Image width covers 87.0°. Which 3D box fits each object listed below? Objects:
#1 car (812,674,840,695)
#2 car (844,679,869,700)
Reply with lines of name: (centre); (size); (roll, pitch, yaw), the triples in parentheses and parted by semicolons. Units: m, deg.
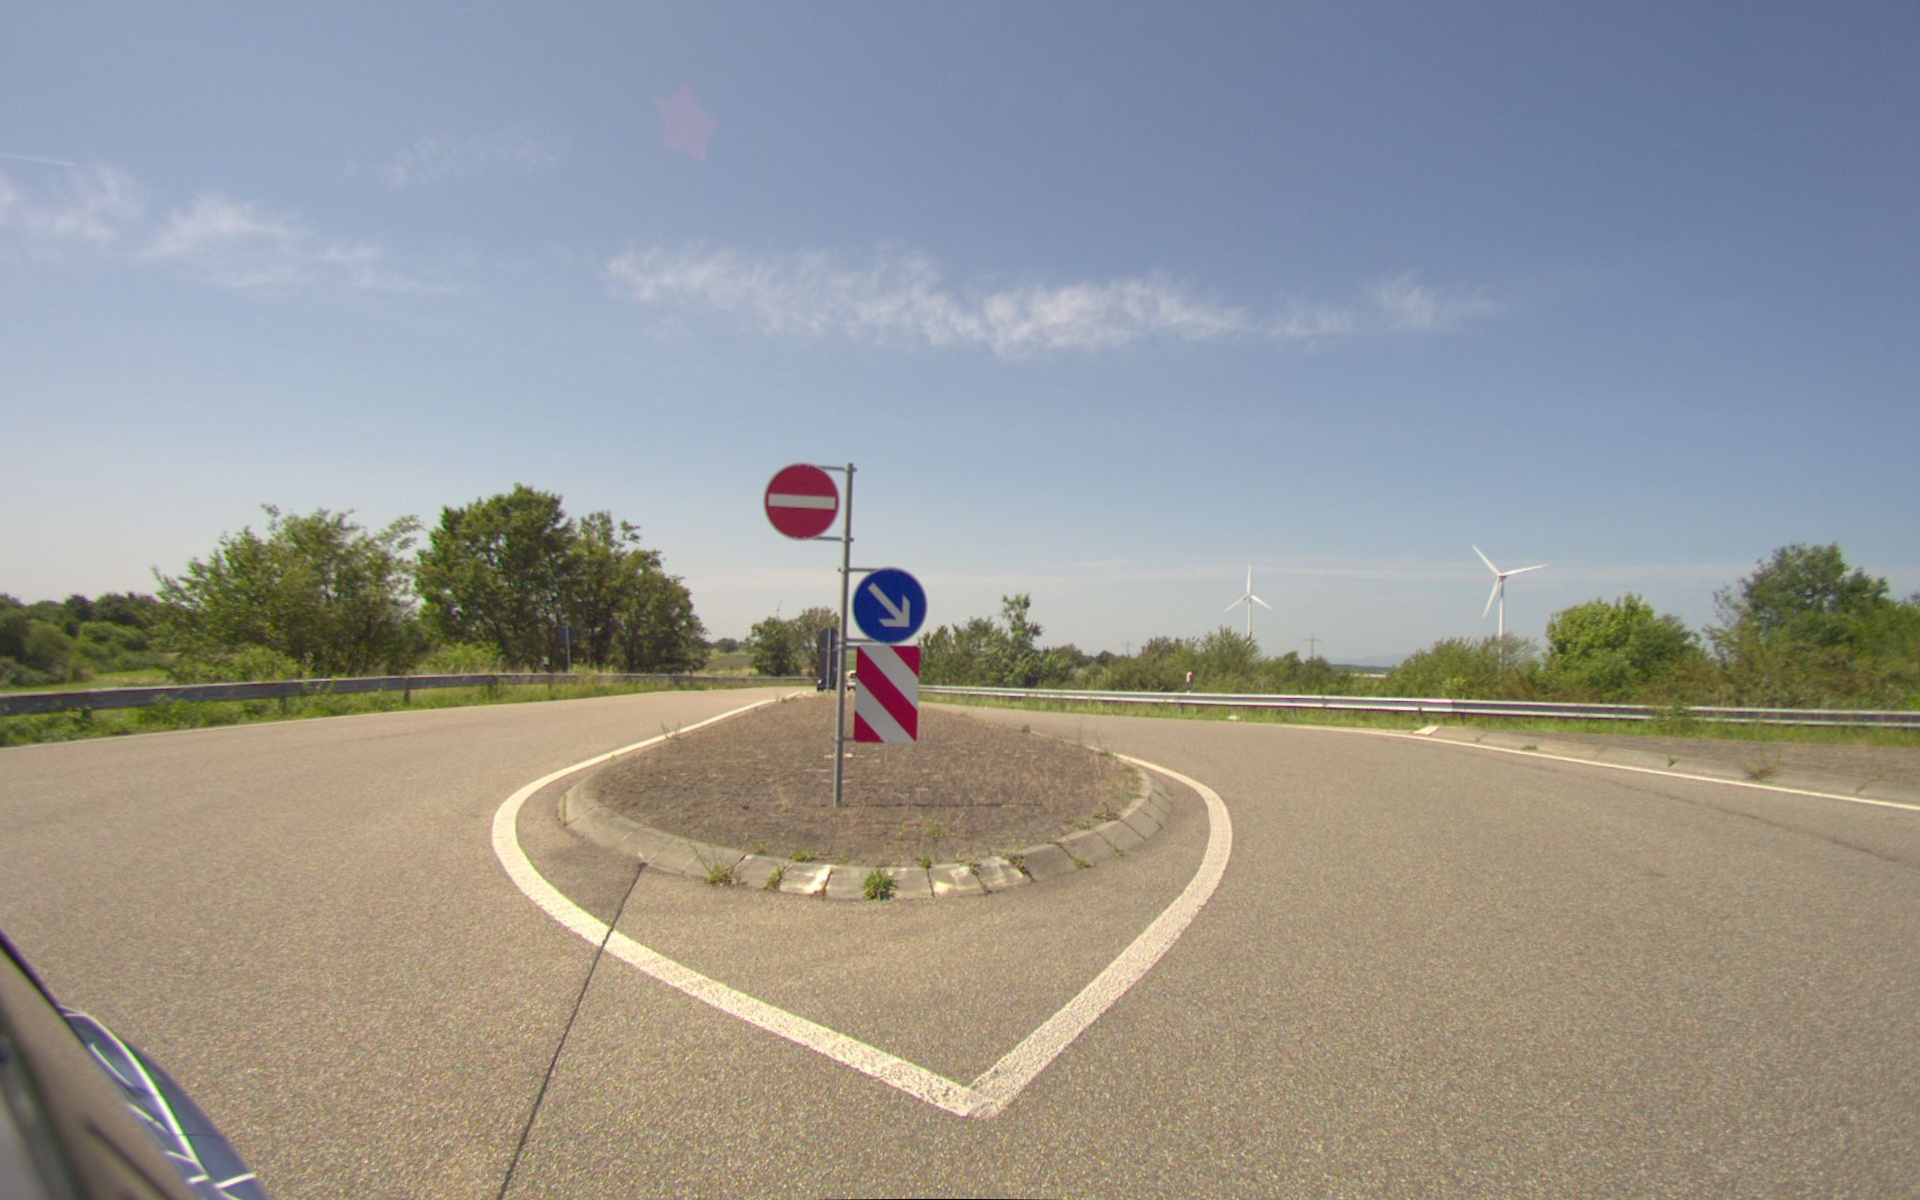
car: (-9.853, 6.263, 74.731); (1.689, 1.406, 3.889); (3, -6, -2)
car: (-9.106, 7.904, 89.367); (1.718, 1.775, 4.081); (2, -5, 1)
